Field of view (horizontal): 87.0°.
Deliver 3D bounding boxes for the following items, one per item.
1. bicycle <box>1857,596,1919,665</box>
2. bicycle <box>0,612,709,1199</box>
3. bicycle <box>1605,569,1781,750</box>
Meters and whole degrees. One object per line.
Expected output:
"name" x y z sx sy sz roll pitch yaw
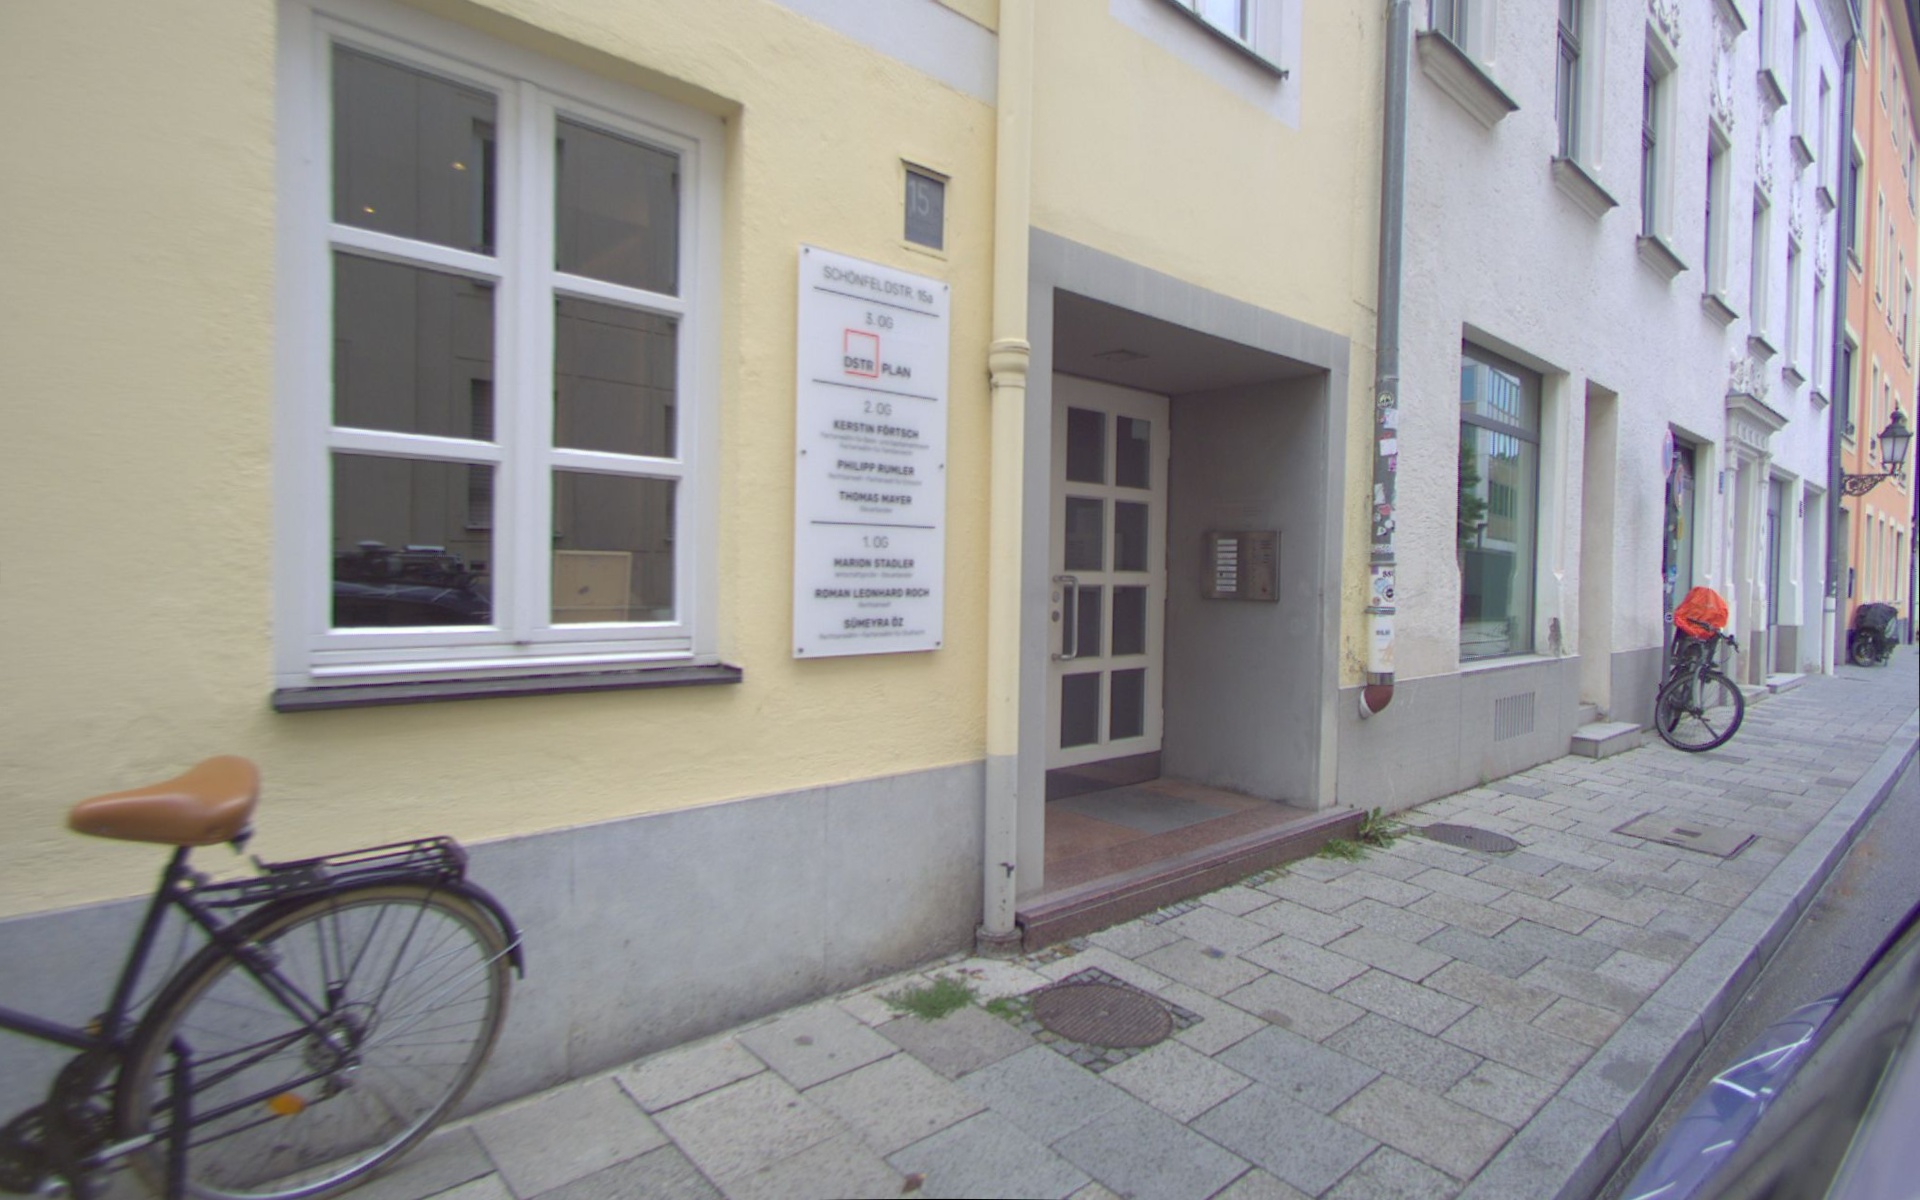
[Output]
"bicycle" 18.789 0.593 20.370 2.340 1.254 0.681 1 5 -41
"bicycle" -1.458 0.624 1.681 1.953 1.150 0.566 0 3 -42
"bicycle" 6.579 0.474 9.041 2.084 1.413 0.715 0 4 -40
